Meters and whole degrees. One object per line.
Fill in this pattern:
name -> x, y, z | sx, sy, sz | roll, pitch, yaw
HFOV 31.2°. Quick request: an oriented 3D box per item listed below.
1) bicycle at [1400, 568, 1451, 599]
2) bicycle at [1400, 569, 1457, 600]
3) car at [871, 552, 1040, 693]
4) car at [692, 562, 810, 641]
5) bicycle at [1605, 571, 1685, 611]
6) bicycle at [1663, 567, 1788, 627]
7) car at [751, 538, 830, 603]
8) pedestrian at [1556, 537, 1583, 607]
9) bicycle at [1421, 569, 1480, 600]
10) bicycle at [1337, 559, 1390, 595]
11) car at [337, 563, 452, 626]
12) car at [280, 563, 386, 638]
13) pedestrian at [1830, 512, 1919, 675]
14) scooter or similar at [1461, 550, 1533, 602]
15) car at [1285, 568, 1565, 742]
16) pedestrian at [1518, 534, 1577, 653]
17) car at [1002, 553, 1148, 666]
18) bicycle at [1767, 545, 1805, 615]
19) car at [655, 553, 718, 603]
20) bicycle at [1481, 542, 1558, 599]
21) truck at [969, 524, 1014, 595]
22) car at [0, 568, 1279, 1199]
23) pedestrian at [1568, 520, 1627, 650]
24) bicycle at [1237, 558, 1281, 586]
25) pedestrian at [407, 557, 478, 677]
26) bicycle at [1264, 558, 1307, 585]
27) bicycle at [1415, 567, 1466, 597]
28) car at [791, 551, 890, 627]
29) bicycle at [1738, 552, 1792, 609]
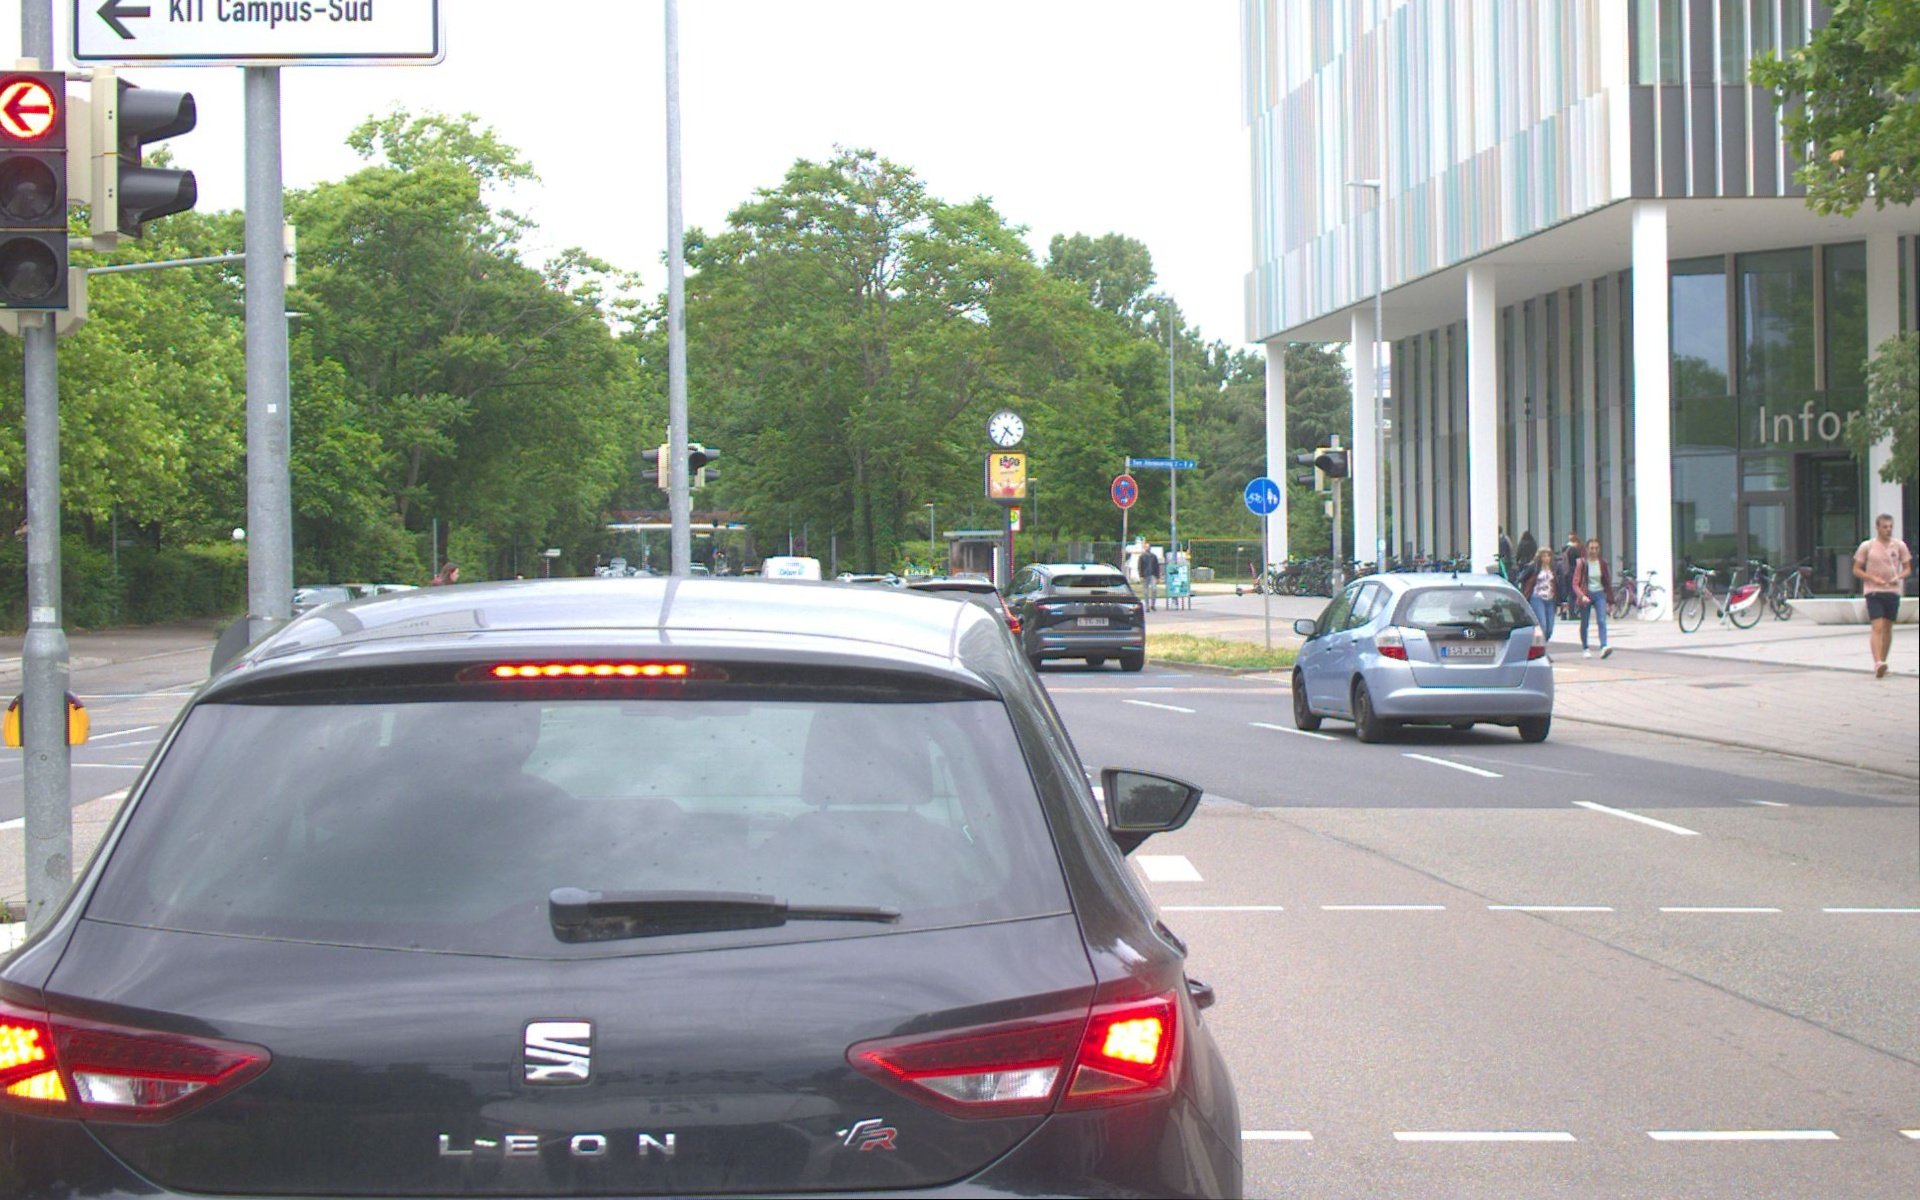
bicycle -> 11.761, -0.418, 86.883 | 1.240, 0.703, 0.489 | -2, 1, 8
bicycle -> 11.723, -0.388, 85.991 | 1.375, 0.703, 0.489 | -2, 1, 8
car -> -0.105, 0.229, 41.997 | 1.883, 1.594, 4.447 | 1, 1, -2
car -> -4.046, 0.003, 66.020 | 1.781, 1.458, 3.872 | 0, 1, -11
bicycle -> 13.883, -0.182, 69.677 | 1.479, 0.746, 0.566 | -2, 1, -4
bicycle -> 12.514, -0.056, 56.196 | 1.886, 0.895, 0.697 | -3, 1, -21
car -> -5.385, -0.953, 108.767 | 1.966, 1.965, 4.345 | 1, 1, -10
pedestrian -> 12.178, -0.561, 68.715 | 0.472, 1.357, 0.445 | -2, 1, 10
bicycle -> 12.009, -0.382, 84.194 | 1.374, 0.703, 0.416 | -2, 1, 2
bicycle -> 10.773, -0.614, 91.855 | 1.387, 0.938, 0.487 | -1, 1, 7
car -> -15.806, -0.171, 96.308 | 1.759, 1.582, 3.998 | -2, 1, 12
car -> -15.716, -0.002, 86.291 | 1.906, 1.711, 4.000 | -2, 1, -1
pedestrian -> 10.208, -0.081, 38.165 | 0.847, 1.759, 0.768 | -2, 1, -1
scooter or similar -> 12.230, -0.546, 78.308 | 1.671, 1.103, 0.499 | -3, 1, -32
car -> 4.146, 0.451, 31.169 | 1.666, 1.461, 3.661 | 0, 1, -6
pedestrian -> 8.106, -0.095, 47.463 | 0.687, 1.634, 0.633 | 0, 1, -1
car -> 1.708, 0.112, 52.496 | 1.907, 1.619, 4.491 | 1, 1, -2
bicycle -> 15.468, -0.374, 64.390 | 0.526, 1.248, 1.664 | -2, 1, 18
car -> -8.137, -0.668, 102.131 | 1.722, 1.409, 4.246 | 0, 1, -6
bicycle -> 12.645, -0.665, 77.728 | 1.772, 1.207, 0.570 | -3, 1, -34
truck -> 1.016, -1.330, 112.644 | 1.317, 2.235, 3.402 | -2, 1, -1
car -> -0.467, 0.686, 5.760 | 1.753, 1.427, 3.769 | 1, 1, 2
pedestrian -> 8.803, -0.210, 47.488 | 0.687, 1.775, 0.677 | -1, 1, -1
bicycle -> 9.465, -0.893, 108.848 | 1.258, 0.845, 0.482 | 2, 0, -22
pedestrian -> -7.004, 0.226, 46.556 | 0.874, 1.581, 0.543 | -2, 1, -7
bicycle -> 10.128, -0.883, 106.860 | 1.234, 0.820, 0.482 | 1, 0, -22
bicycle -> 12.237, -0.463, 87.564 | 1.273, 0.703, 0.485 | -2, 1, 7
car -> -2.528, -0.216, 73.704 | 1.825, 1.545, 4.527 | 1, 0, 2
bicycle -> 15.734, -0.385, 67.184 | 0.620, 1.042, 1.703 | -2, 1, 26
